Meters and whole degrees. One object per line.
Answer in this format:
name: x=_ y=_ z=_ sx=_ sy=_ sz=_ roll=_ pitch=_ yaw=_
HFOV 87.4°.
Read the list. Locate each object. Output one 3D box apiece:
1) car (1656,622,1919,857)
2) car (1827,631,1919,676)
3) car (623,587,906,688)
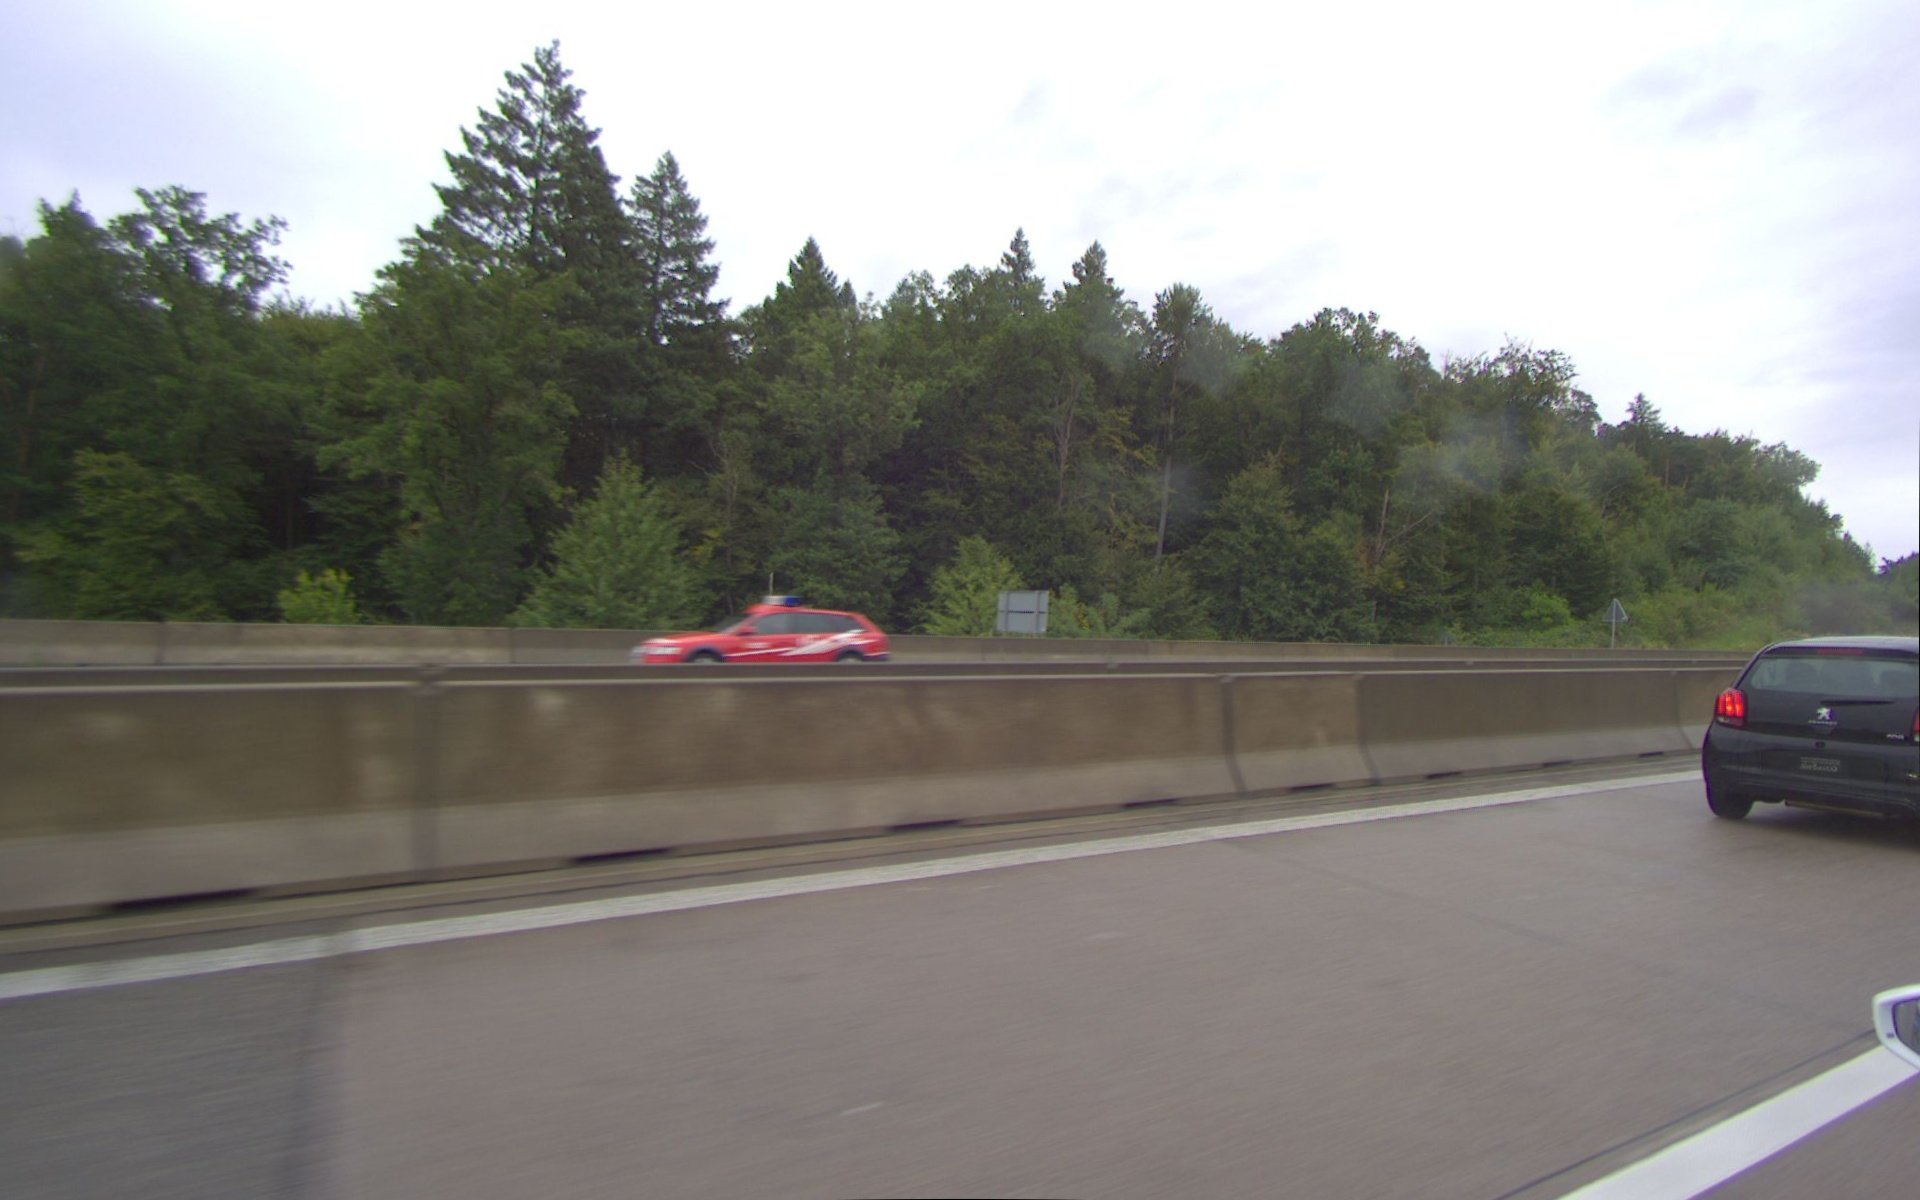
car: x=7.366 y=0.969 z=8.211 sx=3.649 sy=1.482 sz=1.671 roll=2 pitch=0 yaw=-37
car: x=34.585 y=2.000 z=37.802 sx=4.588 sy=1.574 sz=1.600 roll=2 pitch=-1 yaw=-31
car: x=-3.681 y=0.699 z=19.183 sx=4.916 sy=1.722 sz=1.984 roll=2 pitch=-1 yaw=-31
